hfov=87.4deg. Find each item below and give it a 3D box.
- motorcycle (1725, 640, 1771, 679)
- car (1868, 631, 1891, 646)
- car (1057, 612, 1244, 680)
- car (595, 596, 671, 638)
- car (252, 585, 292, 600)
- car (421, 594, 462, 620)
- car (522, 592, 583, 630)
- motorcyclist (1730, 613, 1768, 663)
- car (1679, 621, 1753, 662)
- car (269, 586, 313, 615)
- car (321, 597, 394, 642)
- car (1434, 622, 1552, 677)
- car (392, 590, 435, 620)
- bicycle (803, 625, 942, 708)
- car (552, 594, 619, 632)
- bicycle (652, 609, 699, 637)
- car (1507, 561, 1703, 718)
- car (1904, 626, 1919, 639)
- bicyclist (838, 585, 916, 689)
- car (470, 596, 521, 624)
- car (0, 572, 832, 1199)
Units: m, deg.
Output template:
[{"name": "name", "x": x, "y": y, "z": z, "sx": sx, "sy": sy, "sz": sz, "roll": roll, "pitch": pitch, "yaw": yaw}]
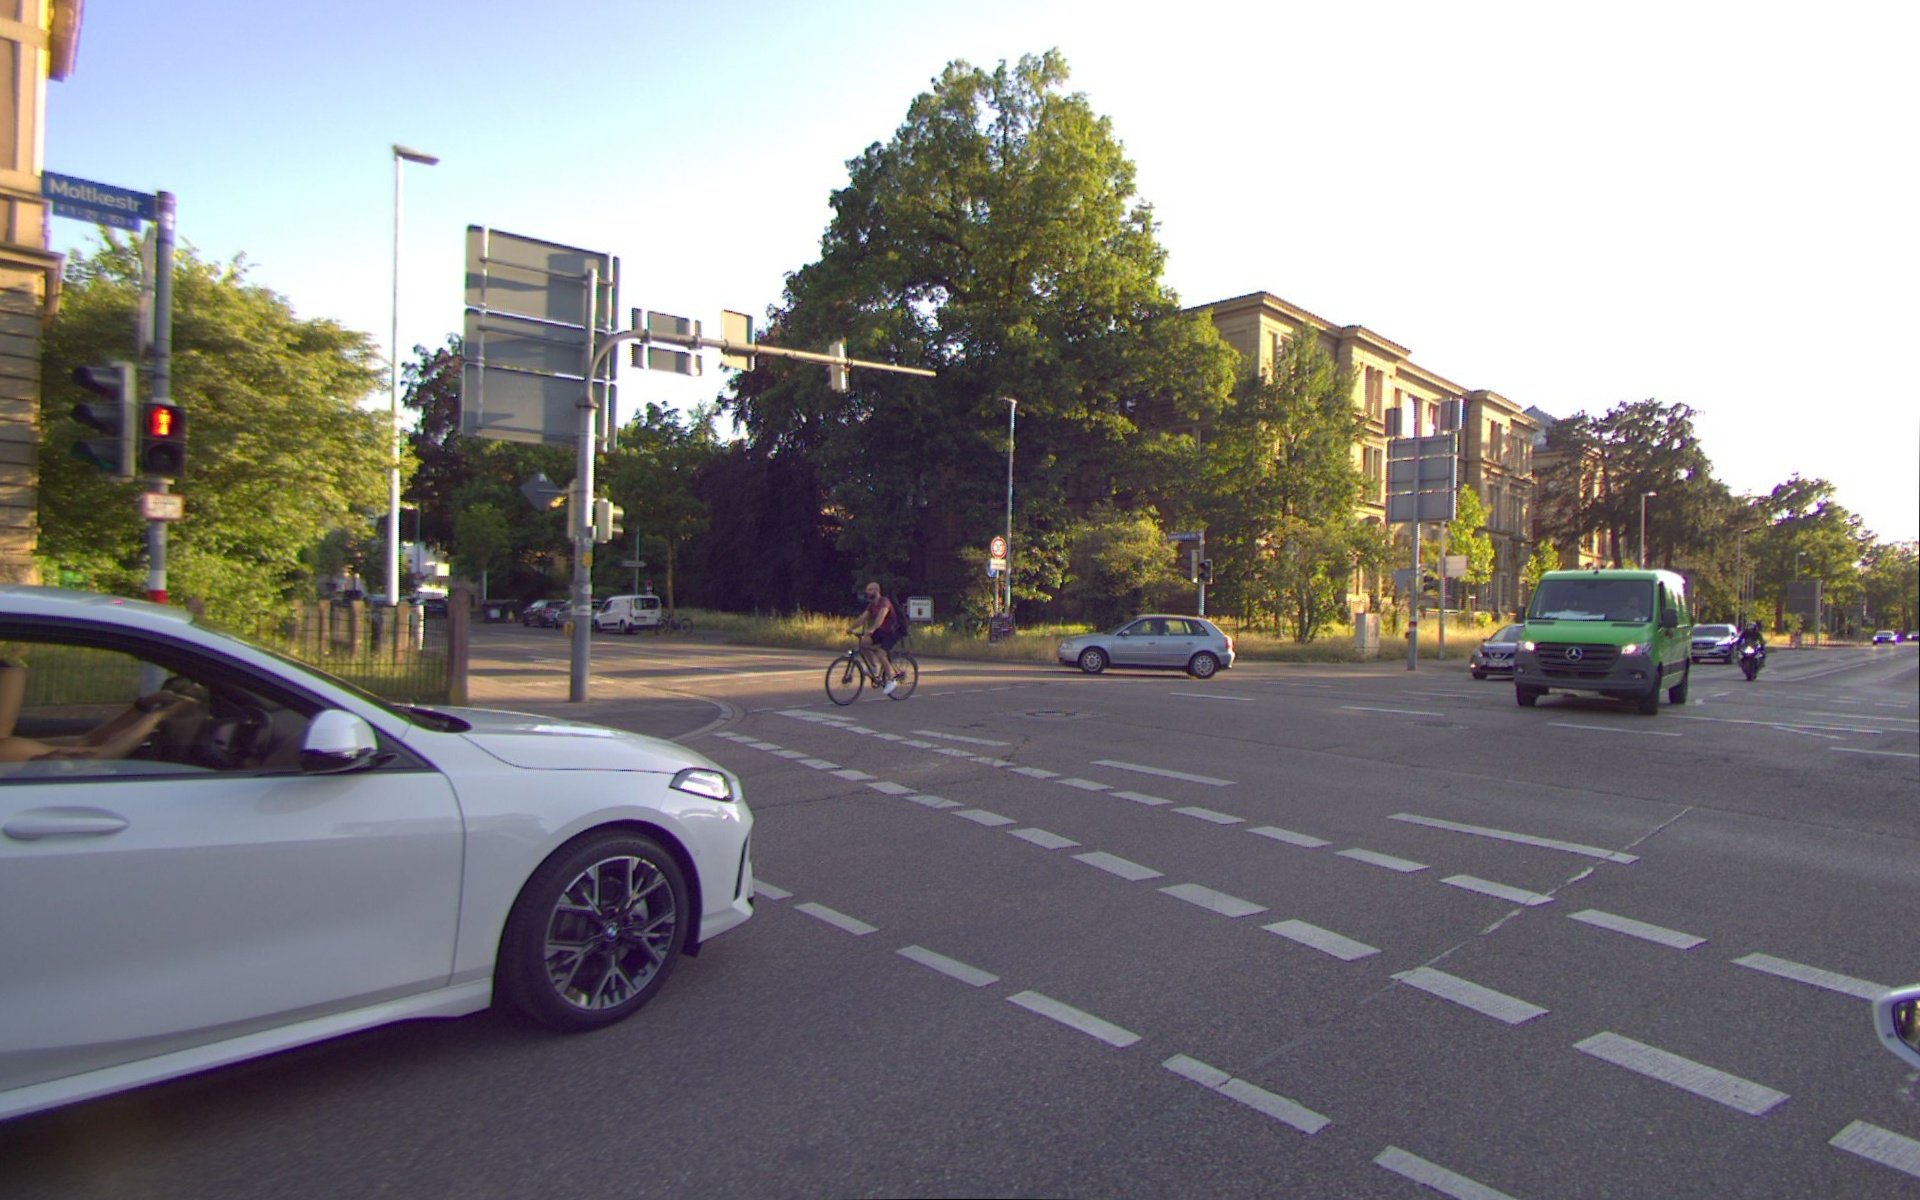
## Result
[{"name": "motorcycle", "x": 22.211, "y": 1.654, "z": 28.293, "sx": 1.866, "sy": 1.014, "sz": 0.747, "roll": 2, "pitch": -1, "yaw": -43}, {"name": "car", "x": 96.954, "y": 4.053, "z": 105.916, "sx": 1.751, "sy": 1.494, "sz": 3.754, "roll": 1, "pitch": -1, "yaw": 43}, {"name": "car", "x": 4.353, "y": 1.041, "z": 23.410, "sx": 4.057, "sy": 1.427, "sz": 1.736, "roll": 1, "pitch": 0, "yaw": 3}, {"name": "car", "x": -15.567, "y": 0.774, "z": 47.688, "sx": 1.850, "sy": 1.870, "sz": 4.067, "roll": 2, "pitch": -1, "yaw": -43}, {"name": "car", "x": -81.538, "y": -0.862, "z": 119.016, "sx": 3.729, "sy": 1.639, "sz": 1.801, "roll": 2, "pitch": -1, "yaw": -41}, {"name": "car", "x": -37.946, "y": 0.501, "z": 73.458, "sx": 1.786, "sy": 1.751, "sz": 3.952, "roll": 2, "pitch": 1, "yaw": -41}, {"name": "car", "x": -22.746, "y": 0.612, "z": 55.995, "sx": 1.923, "sy": 2.040, "sz": 3.952, "roll": 2, "pitch": -1, "yaw": -41}, {"name": "motorcyclist", "x": 22.228, "y": 1.070, "z": 28.301, "sx": 0.699, "sy": 1.376, "sz": 0.742, "roll": 2, "pitch": -1, "yaw": -43}, {"name": "car", "x": 32.240, "y": 1.748, "z": 42.783, "sx": 4.480, "sy": 1.657, "sz": 1.748, "roll": 2, "pitch": -1, "yaw": -43}, {"name": "car", "x": -47.327, "y": 0.001, "z": 71.022, "sx": 1.985, "sy": 1.840, "sz": 3.950, "roll": 2, "pitch": 1, "yaw": -42}, {"name": "car", "x": -22.393, "y": 0.670, "z": 37.257, "sx": 1.678, "sy": 1.530, "sz": 3.655, "roll": -1, "pitch": 1, "yaw": -41}, {"name": "car", "x": 14.442, "y": 1.305, "z": 27.145, "sx": 3.618, "sy": 1.346, "sz": 1.748, "roll": 2, "pitch": -1, "yaw": -43}, {"name": "car", "x": -42.020, "y": 0.371, "z": 77.155, "sx": 1.985, "sy": 2.040, "sz": 3.950, "roll": 2, "pitch": 1, "yaw": -42}, {"name": "bicycle", "x": -1.293, "y": 0.976, "z": 15.268, "sx": 2.153, "sy": 1.138, "sz": 0.680, "roll": 0, "pitch": 0, "yaw": -43}, {"name": "car", "x": -19.575, "y": 0.663, "z": 52.372, "sx": 1.849, "sy": 1.870, "sz": 4.135, "roll": 2, "pitch": -1, "yaw": -42}, {"name": "bicycle", "x": -12.688, "y": 1.052, "z": 44.833, "sx": 1.861, "sy": 1.171, "sz": 0.744, "roll": 2, "pitch": 1, "yaw": -39}, {"name": "car", "x": 11.478, "y": 0.644, "z": 17.636, "sx": 2.016, "sy": 2.308, "sz": 5.910, "roll": 1, "pitch": -1, "yaw": 41}, {"name": "car", "x": 131.331, "y": 4.480, "z": 138.293, "sx": 1.972, "sy": 1.662, "sz": 3.976, "roll": 1, "pitch": -1, "yaw": 44}, {"name": "bicyclist", "x": -1.260, "y": 0.555, "z": 15.294, "sx": 0.949, "sy": 1.532, "sz": 0.676, "roll": 2, "pitch": -1, "yaw": -43}, {"name": "car", "x": -29.405, "y": 0.640, "z": 63.508, "sx": 1.923, "sy": 1.664, "sz": 3.952, "roll": 2, "pitch": -1, "yaw": -41}, {"name": "car", "x": -2.575, "y": 0.680, "z": 3.009, "sx": 1.734, "sy": 1.485, "sz": 4.162, "roll": 1, "pitch": -1, "yaw": 45}]
